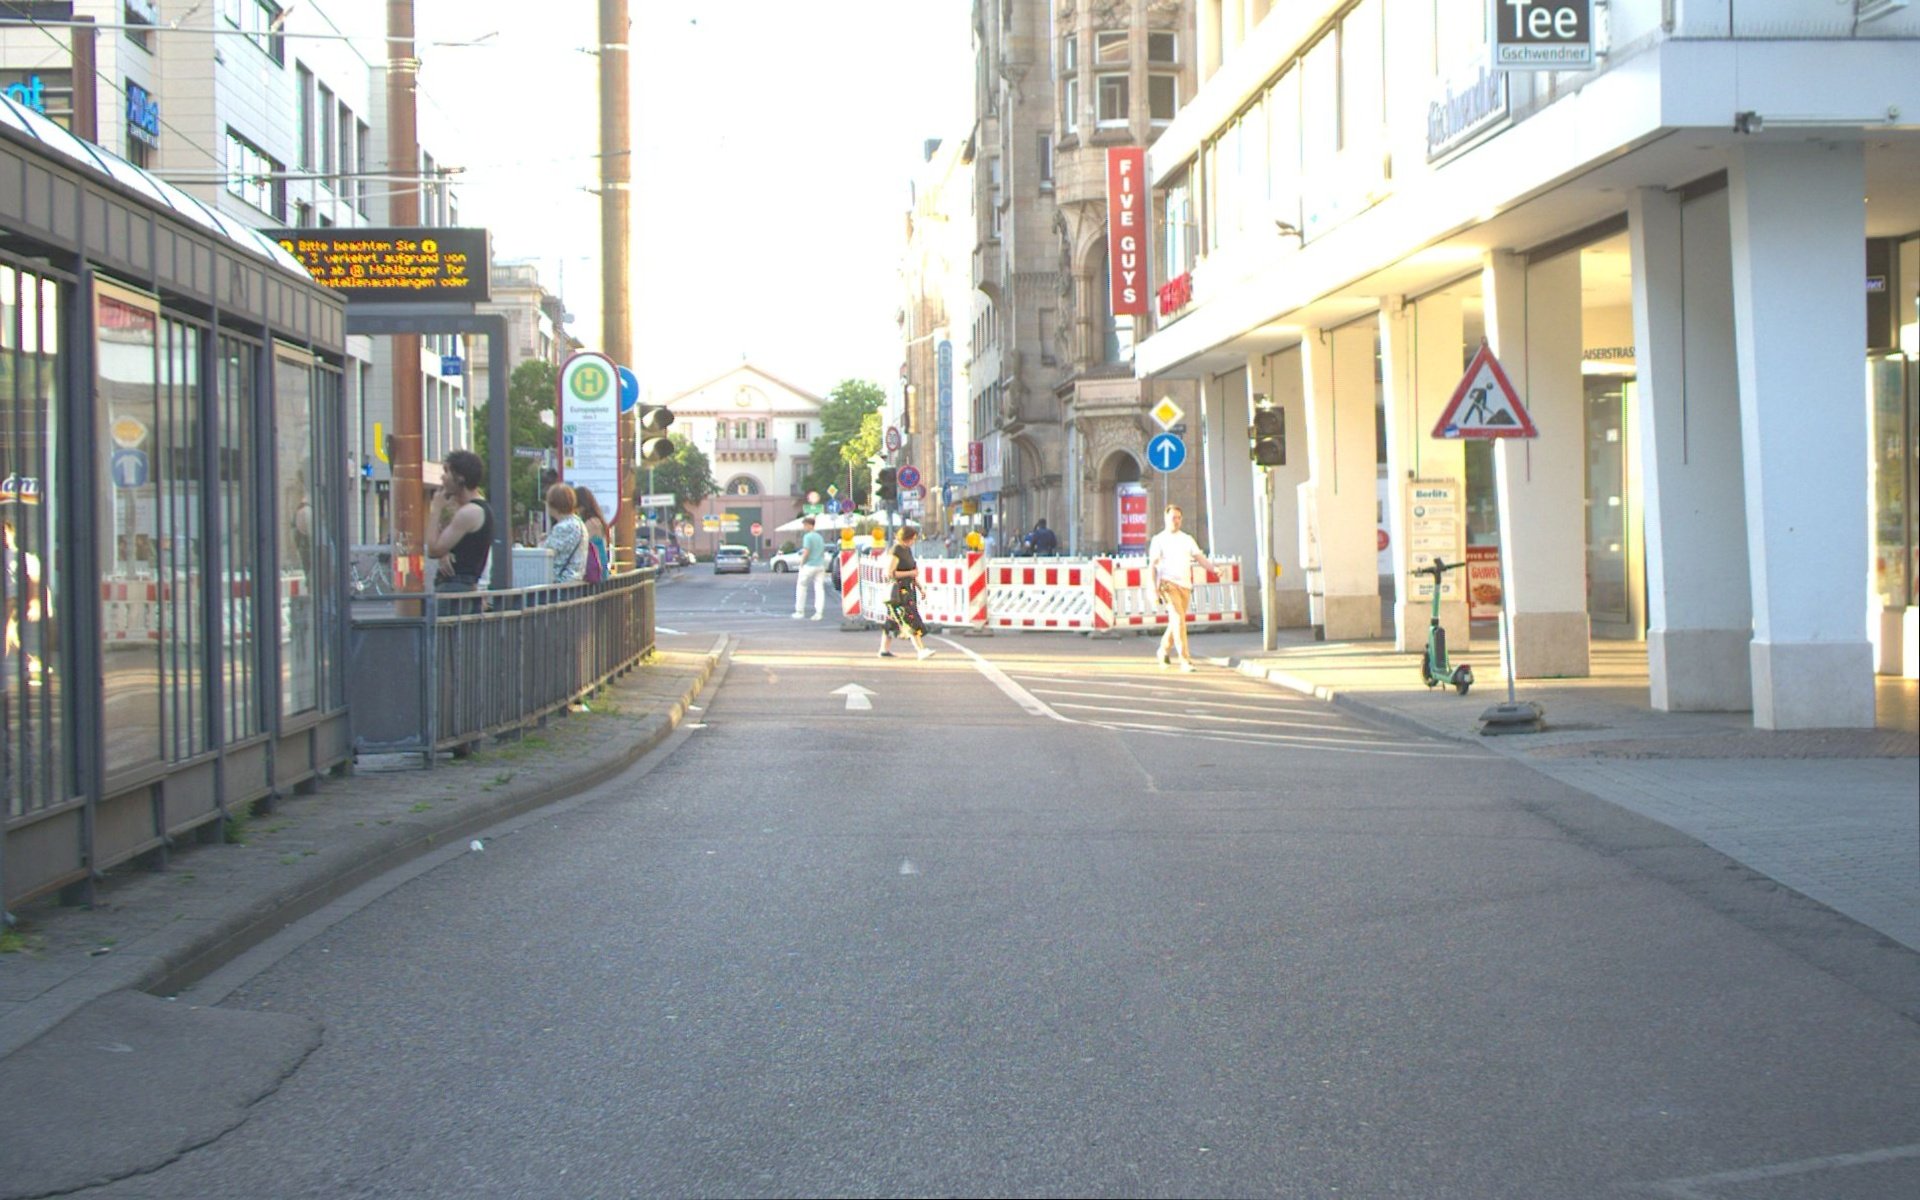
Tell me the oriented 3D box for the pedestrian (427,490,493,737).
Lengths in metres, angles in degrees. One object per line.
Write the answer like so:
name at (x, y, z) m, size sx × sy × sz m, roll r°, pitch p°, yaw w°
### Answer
pedestrian at (-3.365, 0.088, 23.165) m, size 0.385 × 1.636 × 0.549 m, roll 1°, pitch 0°, yaw -5°

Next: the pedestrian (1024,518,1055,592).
pedestrian at (1.825, -1.038, 78.855) m, size 0.625 × 1.684 × 0.671 m, roll -1°, pitch 1°, yaw -5°

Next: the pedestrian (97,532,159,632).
pedestrian at (-13.532, -0.296, 55.926) m, size 0.821 × 1.608 × 0.693 m, roll -1°, pitch 1°, yaw -28°

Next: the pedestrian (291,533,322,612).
pedestrian at (-13.856, -0.591, 72.902) m, size 0.528 × 1.668 × 0.651 m, roll -1°, pitch 1°, yaw -2°

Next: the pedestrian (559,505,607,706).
pedestrian at (-3.098, 0.045, 28.286) m, size 0.356 × 1.636 × 0.503 m, roll 1°, pitch 0°, yaw -5°

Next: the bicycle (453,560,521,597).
bicycle at (-14.382, -0.655, 104.506) m, size 1.967 × 1.118 × 0.558 m, roll 1°, pitch 0°, yaw -31°

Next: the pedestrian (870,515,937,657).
pedestrian at (-0.679, -0.168, 41.183) m, size 0.699 × 1.687 × 0.541 m, roll 1°, pitch 0°, yaw -10°

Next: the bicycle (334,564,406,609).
bicycle at (-14.737, -0.338, 85.915) m, size 1.696 × 1.118 × 0.451 m, roll 1°, pitch 0°, yaw 0°

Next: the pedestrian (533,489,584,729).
pedestrian at (-3.034, 0.067, 26.001) m, size 0.341 × 1.789 × 0.544 m, roll 1°, pitch 0°, yaw -5°

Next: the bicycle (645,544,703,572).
bicycle at (-10.907, -1.596, 131.012) m, size 2.148 × 1.026 × 0.640 m, roll -1°, pitch 1°, yaw -1°

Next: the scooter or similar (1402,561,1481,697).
scooter or similar at (4.453, 0.254, 31.842) m, size 0.505 × 1.230 × 1.180 m, roll 0°, pitch 1°, yaw -3°

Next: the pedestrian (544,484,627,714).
pedestrian at (-2.911, -0.012, 26.744) m, size 0.539 × 1.761 × 0.594 m, roll 1°, pitch 0°, yaw 3°

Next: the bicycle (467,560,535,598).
bicycle at (-13.868, -0.643, 103.870) m, size 1.967 × 1.118 × 0.558 m, roll 1°, pitch 0°, yaw -31°

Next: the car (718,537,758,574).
car at (-11.646, -2.337, 180.493) m, size 1.993 × 1.897 × 4.001 m, roll 1°, pitch 0°, yaw -3°

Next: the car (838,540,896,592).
car at (-2.927, -1.070, 107.819) m, size 1.678 × 1.542 × 3.673 m, roll -2°, pitch 1°, yaw -3°

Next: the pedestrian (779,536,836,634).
pedestrian at (-2.751, -0.277, 62.167) m, size 0.866 × 1.755 × 0.767 m, roll 1°, pitch 0°, yaw 9°

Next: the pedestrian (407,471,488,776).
pedestrian at (-3.002, 0.133, 20.165) m, size 0.412 × 1.761 × 0.594 m, roll 1°, pitch 0°, yaw -5°

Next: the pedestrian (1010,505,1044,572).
pedestrian at (1.609, -1.477, 83.013) m, size 0.711 × 1.605 × 0.822 m, roll 1°, pitch 0°, yaw -5°

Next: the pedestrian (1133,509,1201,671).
pedestrian at (2.349, -0.120, 38.955) m, size 0.699 × 1.809 × 0.852 m, roll 1°, pitch 1°, yaw 6°
